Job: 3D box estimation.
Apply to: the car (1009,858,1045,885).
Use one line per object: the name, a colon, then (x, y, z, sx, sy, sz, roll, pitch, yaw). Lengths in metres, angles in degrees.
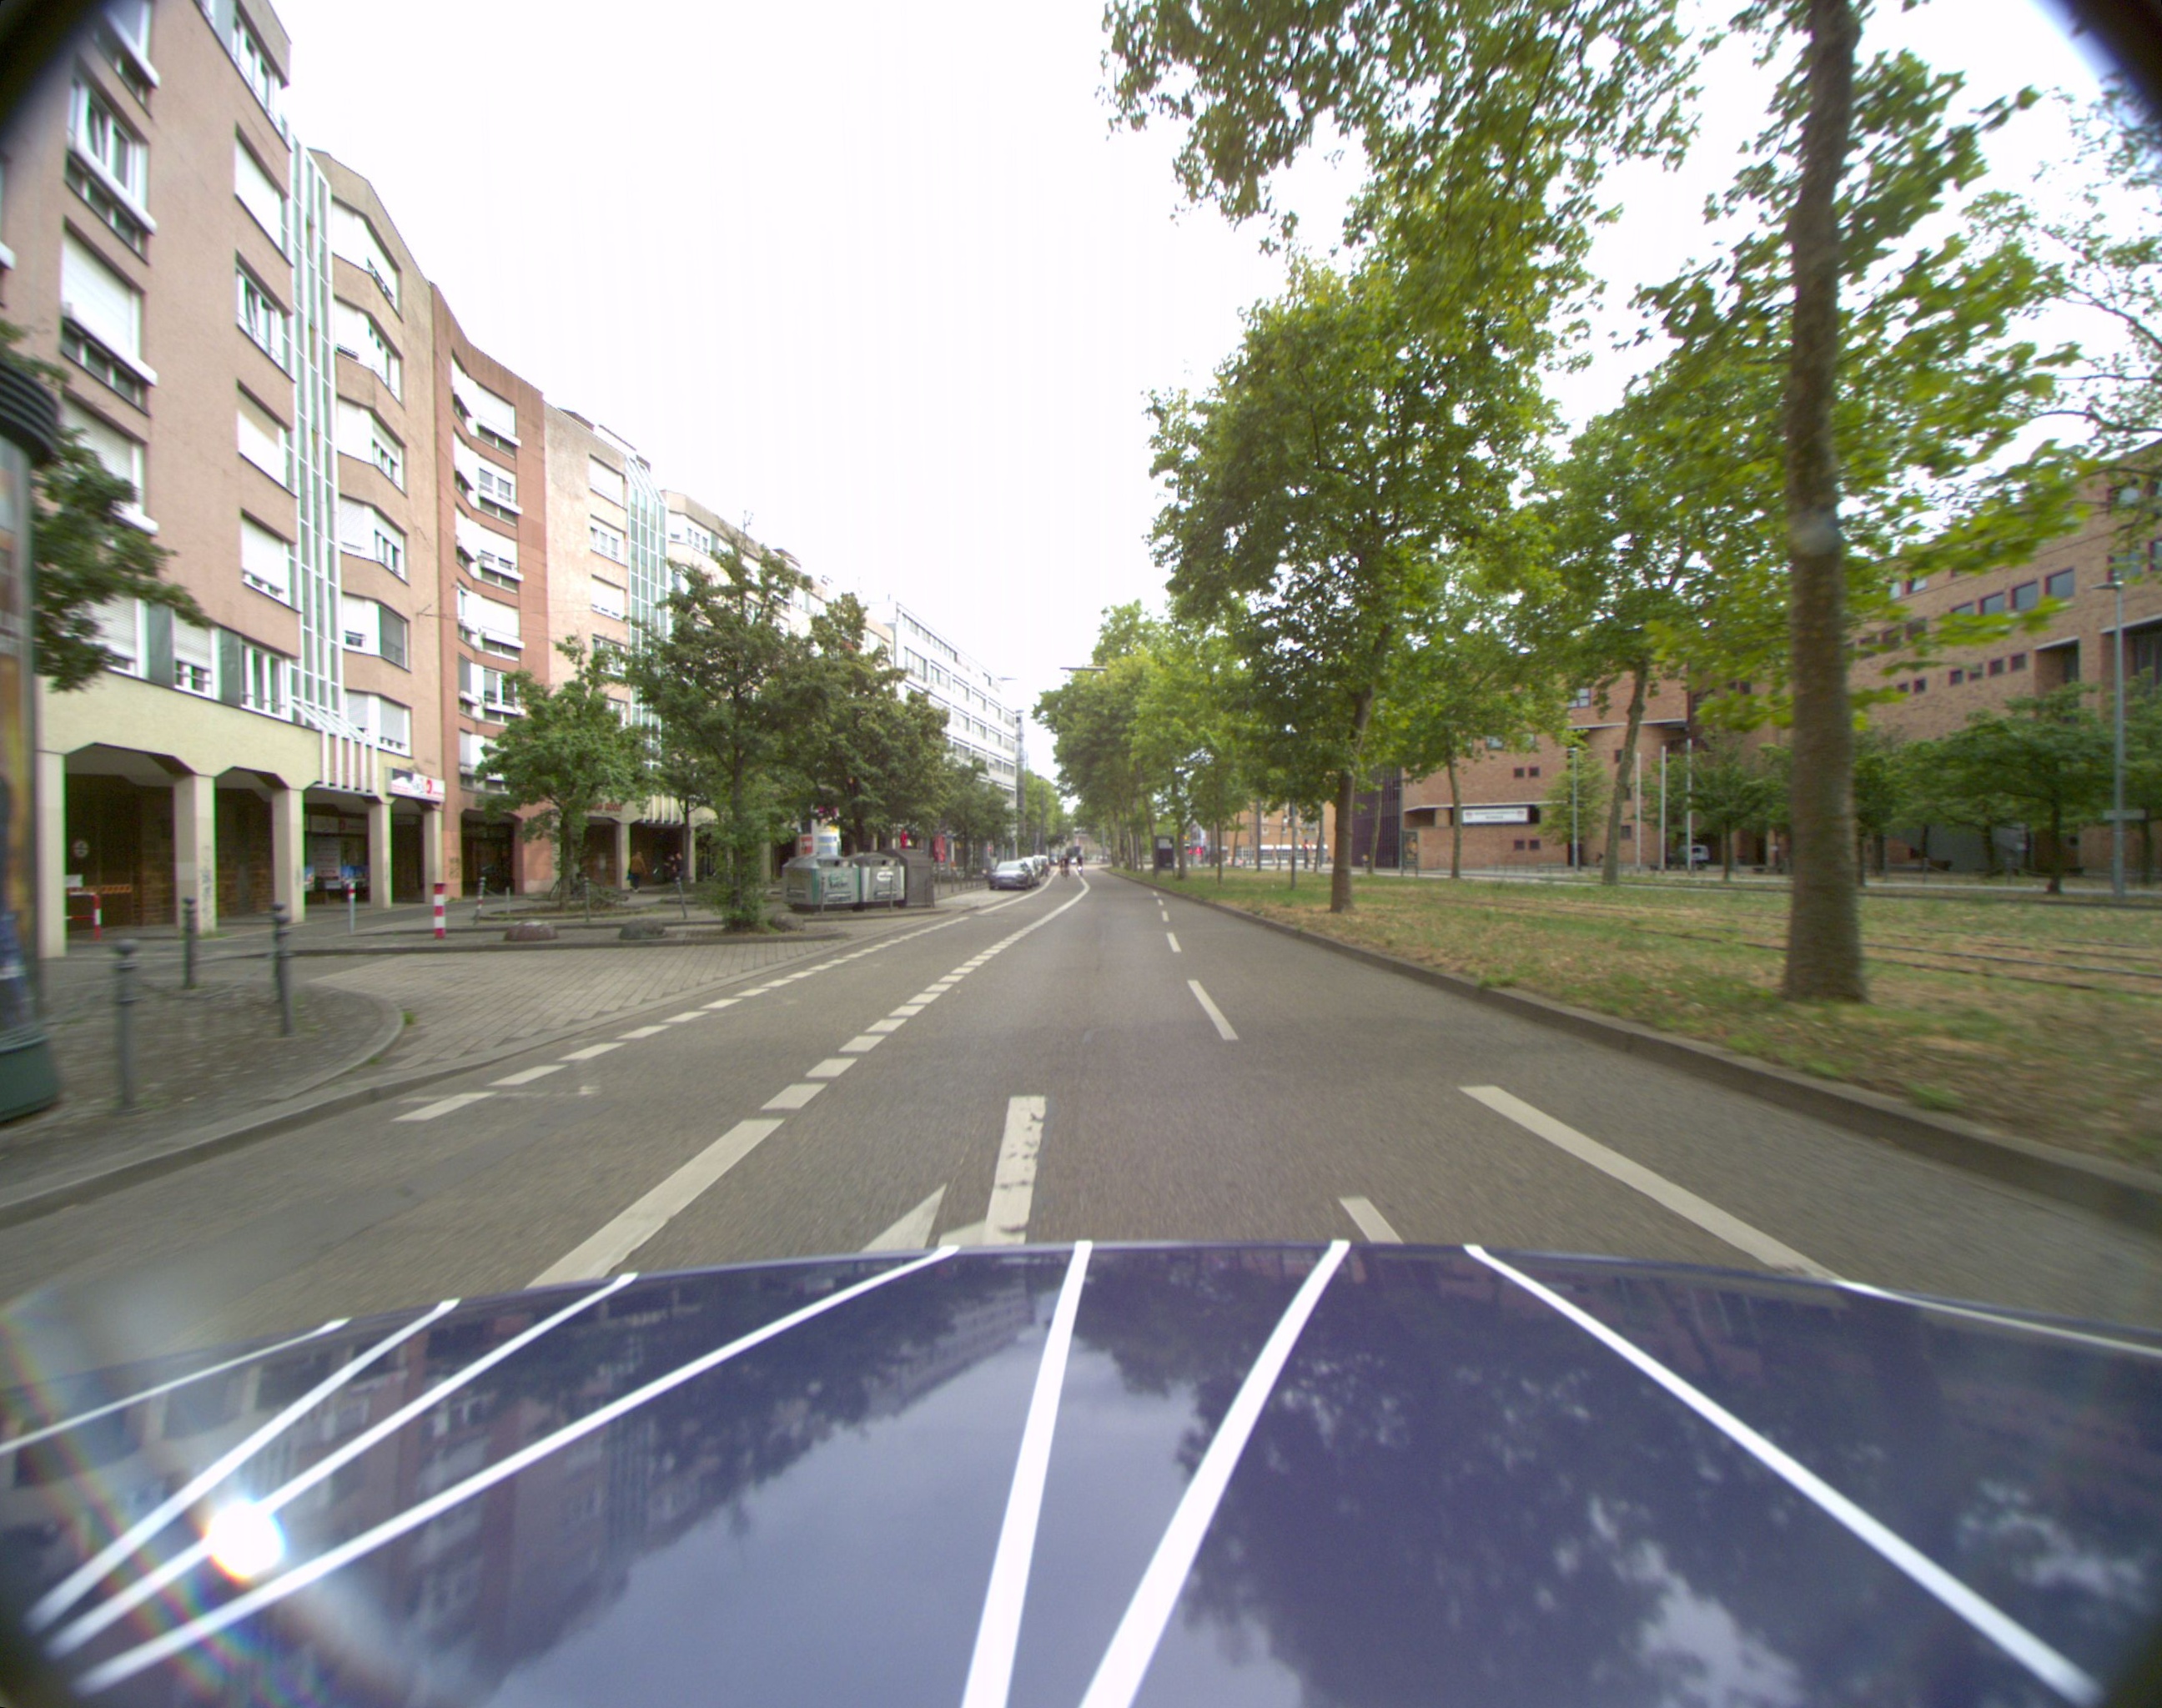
car: (-3.166, 0.976, 44.965, 1.744, 1.510, 4.401, 1, 0, 1)

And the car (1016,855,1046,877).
car: (-3.847, 0.943, 59.187, 1.865, 1.643, 4.164, 0, 0, 3)

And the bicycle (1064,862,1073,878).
bicycle: (-0.877, 1.141, 54.447, 0.595, 1.132, 2.091, 0, 0, 0)

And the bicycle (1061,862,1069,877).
bicycle: (-1.288, 1.189, 59.809, 0.595, 1.132, 1.734, 0, 0, 0)

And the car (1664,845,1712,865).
car: (57.981, 0.073, 72.655, 1.896, 1.797, 4.003, -1, 0, 11)

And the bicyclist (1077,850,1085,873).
bicyclist: (0.025, 0.560, 58.781, 0.591, 1.760, 1.035, 0, 0, 0)

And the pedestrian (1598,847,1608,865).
pedestrian: (44.994, 0.190, 65.472, 0.508, 1.523, 0.521, -1, 0, 14)

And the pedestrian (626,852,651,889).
pedestrian: (-19.818, 0.742, 34.042, 0.534, 1.653, 0.852, -1, 0, 12)

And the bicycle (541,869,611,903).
bicycle: (-17.999, 1.123, 27.120, 0.595, 1.106, 1.968, 0, 1, 45)

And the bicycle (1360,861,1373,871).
bicycle: (31.252, 1.287, 83.242, 0.669, 1.078, 2.094, -1, 0, 3)

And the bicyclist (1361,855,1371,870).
bicyclist: (31.244, 0.921, 83.279, 0.665, 1.581, 0.984, -1, 0, 2)

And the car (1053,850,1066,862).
car: (-4.675, 0.423, 165.120, 2.174, 2.441, 6.998, -1, 0, 3)

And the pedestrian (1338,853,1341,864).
pedestrian: (47.716, 0.886, 140.276, 0.524, 2.002, 0.447, -1, 0, 14)

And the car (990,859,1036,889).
car: (-3.429, 0.984, 39.127, 1.821, 1.434, 4.666, 1, 0, 2)

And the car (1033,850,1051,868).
car: (-4.290, 0.559, 82.899, 1.832, 1.853, 4.647, 1, 0, -3)

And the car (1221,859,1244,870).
car: (19.297, 1.308, 96.936, 1.788, 1.413, 4.657, 0, 0, -2)

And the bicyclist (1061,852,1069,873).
bicyclist: (-1.289, 0.685, 59.865, 0.591, 1.644, 1.035, 0, 0, 0)

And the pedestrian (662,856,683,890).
pedestrian: (-20.433, 0.956, 38.023, 0.606, 1.653, 0.682, -1, 0, 9)

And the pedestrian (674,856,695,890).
pedestrian: (-19.752, 0.948, 37.850, 0.606, 1.653, 0.682, -1, 0, 9)

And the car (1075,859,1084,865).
car: (-0.306, 1.811, 169.386, 1.845, 1.369, 3.835, 0, -1, 4)

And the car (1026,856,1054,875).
car: (-3.571, 1.024, 66.760, 1.778, 1.567, 4.307, 1, 0, 6)

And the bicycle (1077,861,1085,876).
bicycle: (0.023, 1.080, 58.763, 0.595, 1.132, 1.858, 0, 0, 0)

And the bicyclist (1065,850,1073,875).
bicyclist: (-0.874, 0.625, 54.570, 0.591, 1.757, 1.035, 0, 0, 0)
